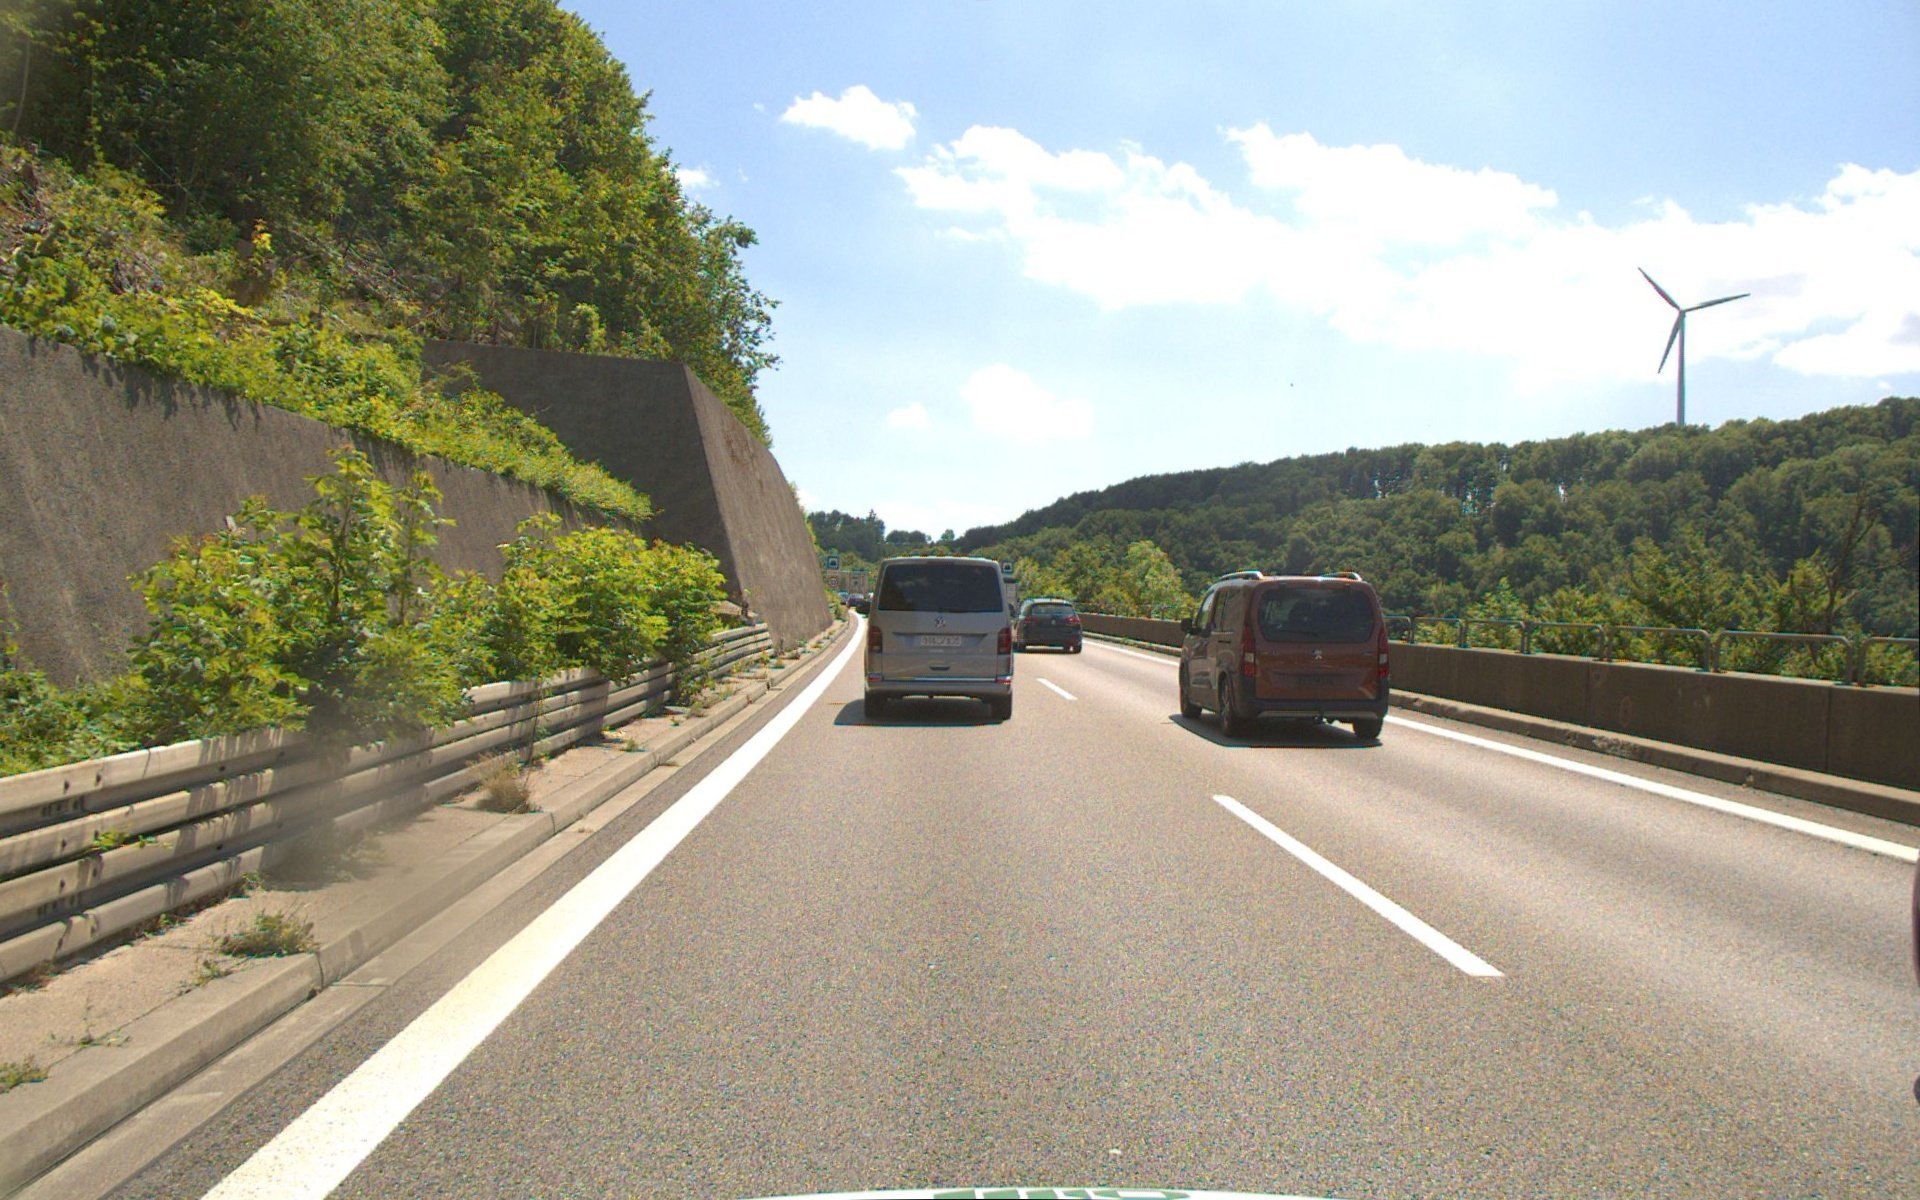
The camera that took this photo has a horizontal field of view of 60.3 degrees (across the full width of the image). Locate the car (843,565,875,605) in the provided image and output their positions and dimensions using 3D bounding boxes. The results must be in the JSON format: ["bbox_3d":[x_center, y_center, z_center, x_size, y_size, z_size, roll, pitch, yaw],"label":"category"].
[{"bbox_3d":[-12.873,-1.919,210.740,3.963,4.956,10.102,1,0,-3],"label":"car"}]

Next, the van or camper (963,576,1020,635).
[{"bbox_3d":[1.384,0.239,75.172,2.219,2.596,4.733,-1,0,-3],"label":"van or camper"}]

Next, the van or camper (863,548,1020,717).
[{"bbox_3d":[-0.286,0.399,21.672,1.838,1.984,4.292,-1,0,-2],"label":"van or camper"}]

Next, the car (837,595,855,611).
[{"bbox_3d":[-12.632,0.289,183.588,1.808,1.780,3.998,0,0,-2],"label":"car"}]

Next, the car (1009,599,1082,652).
[{"bbox_3d":[2.365,0.684,46.501,1.733,1.400,3.591,1,0,-2],"label":"car"}]

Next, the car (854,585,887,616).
[{"bbox_3d":[-5.727,0.024,105.185,1.955,1.948,3.996,1,0,-5],"label":"car"}]

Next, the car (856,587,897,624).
[{"bbox_3d":[-4.395,0.280,86.337,1.955,1.849,3.996,1,0,-5],"label":"car"}]

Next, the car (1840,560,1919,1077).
[{"bbox_3d":[4.034,0.714,3.478,1.797,1.662,4.661,1,0,-1],"label":"car"}]

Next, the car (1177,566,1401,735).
[{"bbox_3d":[3.842,0.559,20.081,1.796,1.815,4.675,0,0,0],"label":"car"}]

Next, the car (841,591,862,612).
[{"bbox_3d":[-10.794,0.194,164.783,1.954,2.049,3.997,-1,-1,-3],"label":"car"}]
